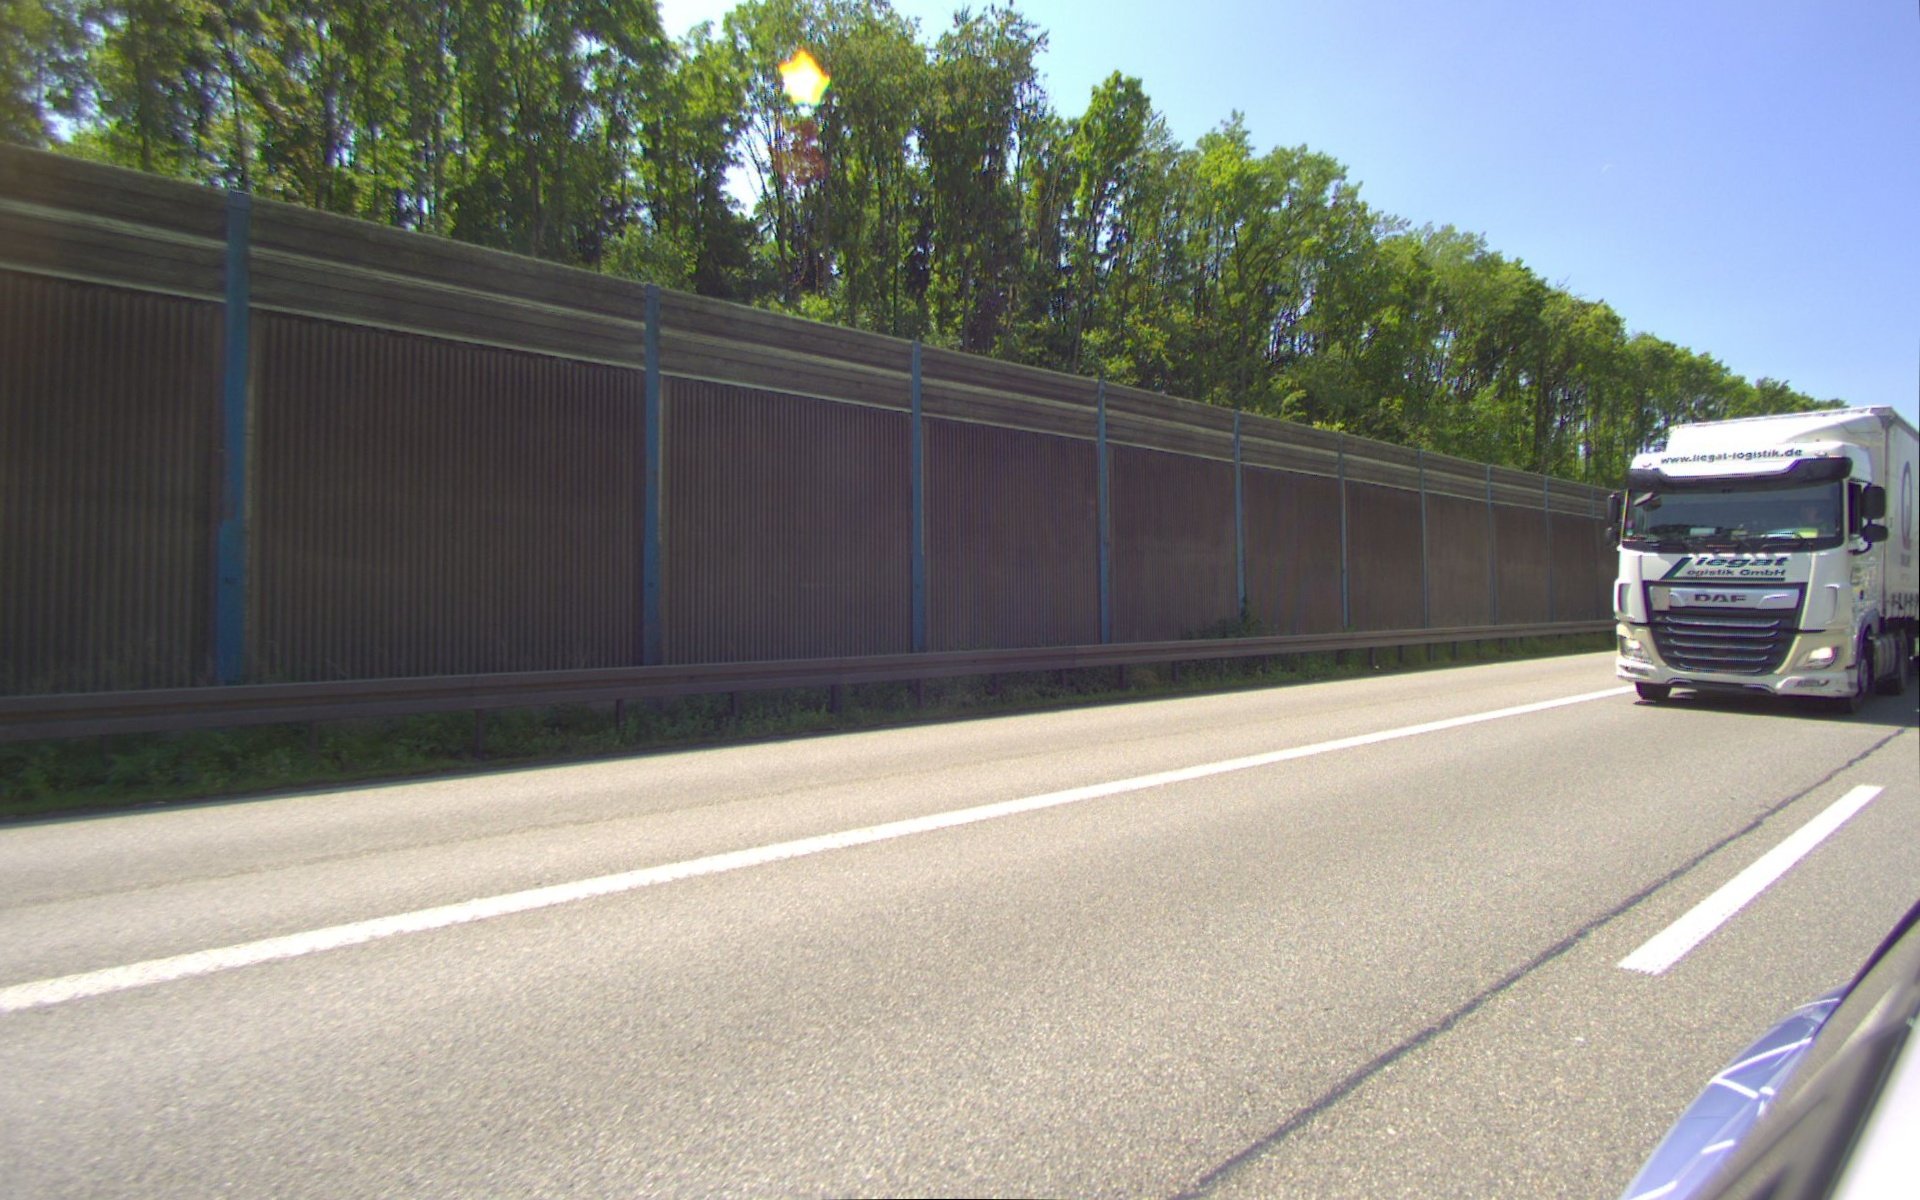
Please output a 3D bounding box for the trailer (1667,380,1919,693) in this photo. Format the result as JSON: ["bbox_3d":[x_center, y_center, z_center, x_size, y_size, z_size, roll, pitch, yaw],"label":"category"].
[{"bbox_3d":[16.933,-0.860,19.046,13.009,4.258,2.791,0,0,-41],"label":"trailer"}]

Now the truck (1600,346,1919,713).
[{"bbox_3d":[11.867,-0.823,14.701,5.766,4.258,2.791,0,0,-40],"label":"truck"}]
